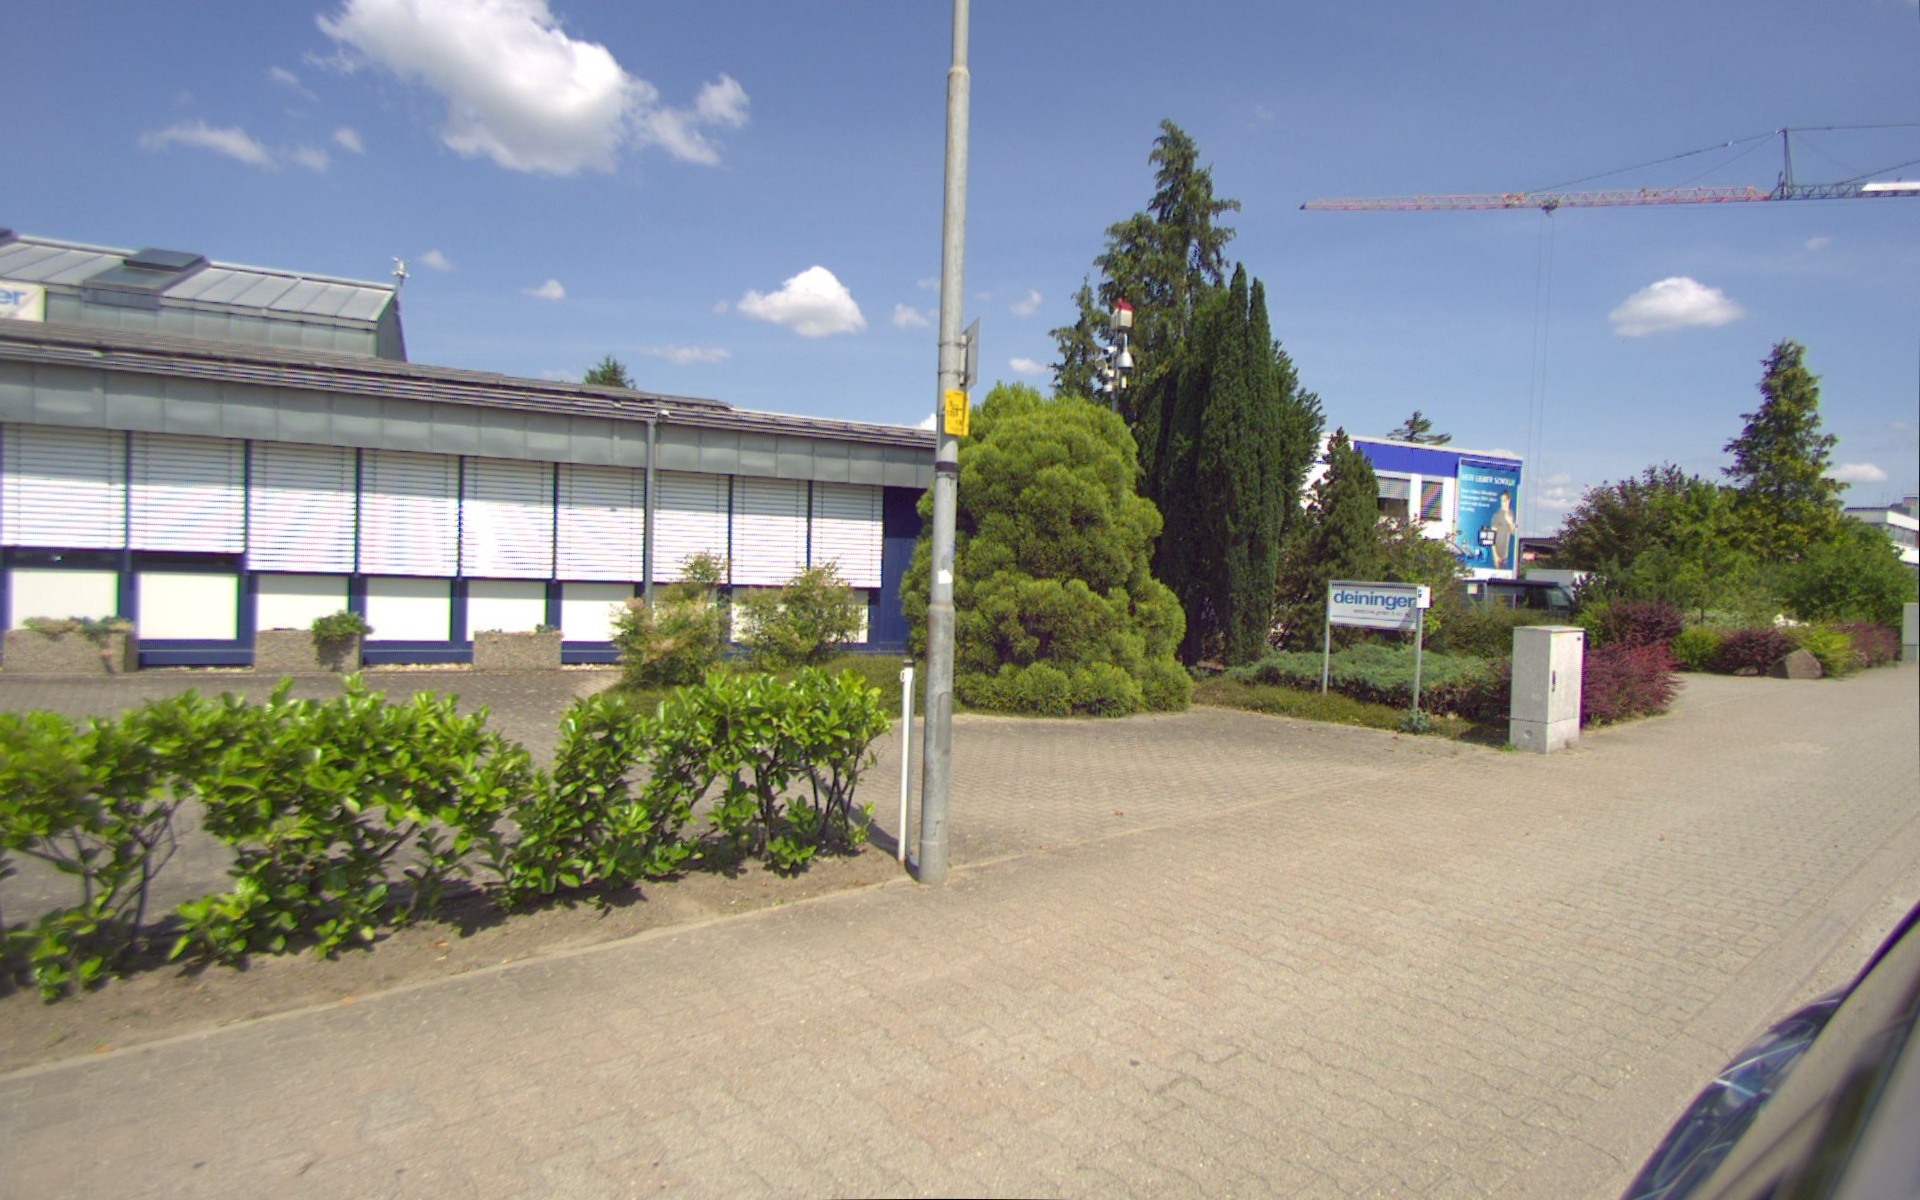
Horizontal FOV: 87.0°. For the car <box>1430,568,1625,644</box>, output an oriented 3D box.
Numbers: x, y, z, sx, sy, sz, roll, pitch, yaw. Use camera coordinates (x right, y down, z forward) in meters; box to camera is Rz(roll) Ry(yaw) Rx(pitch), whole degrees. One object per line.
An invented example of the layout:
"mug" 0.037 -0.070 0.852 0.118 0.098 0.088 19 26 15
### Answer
"car" 15.027 0.098 26.799 4.691 1.819 1.909 -1 4 -21
